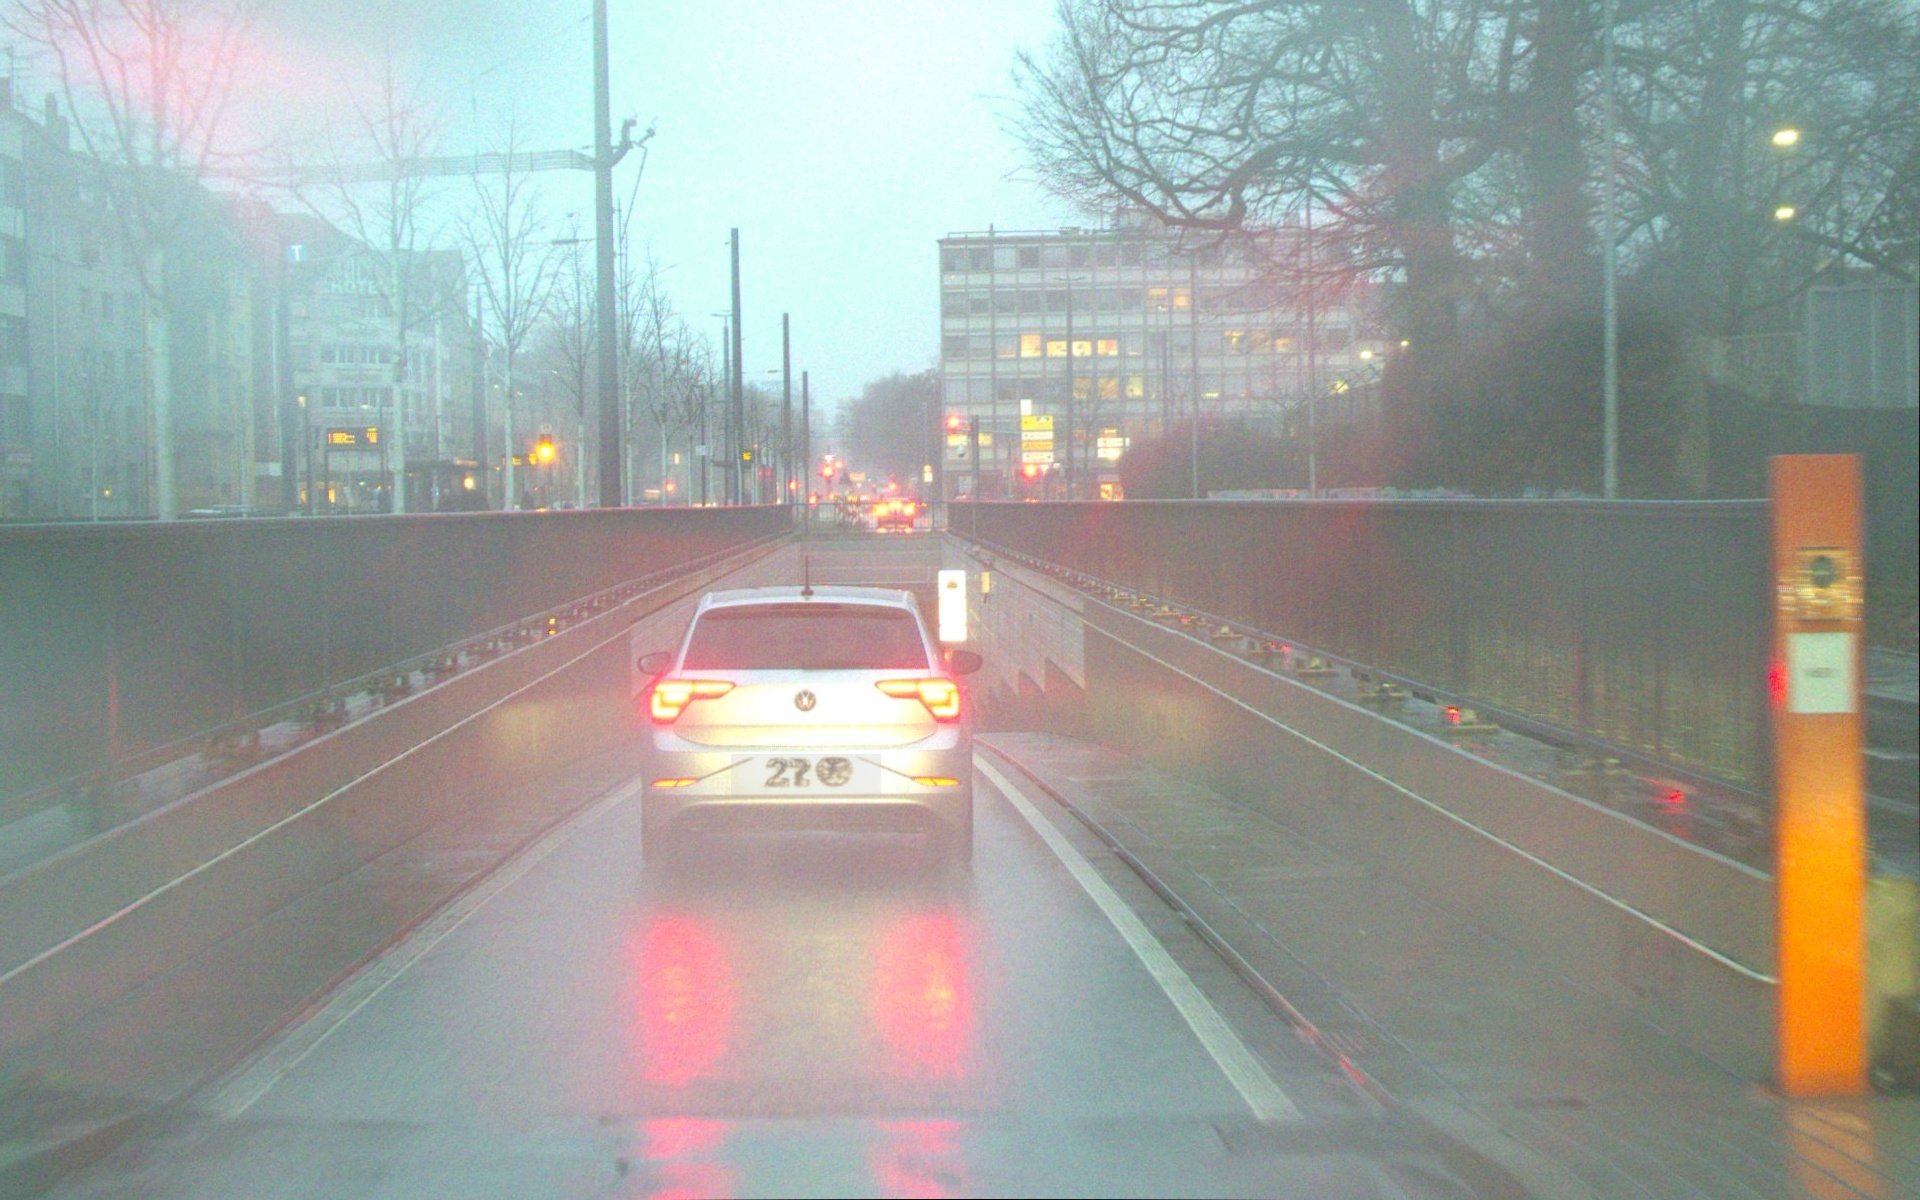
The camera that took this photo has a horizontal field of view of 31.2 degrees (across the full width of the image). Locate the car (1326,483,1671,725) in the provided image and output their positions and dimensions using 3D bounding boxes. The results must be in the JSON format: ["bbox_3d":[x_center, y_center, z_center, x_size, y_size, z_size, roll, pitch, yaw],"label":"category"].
[{"bbox_3d":[3.569,-0.016,23.445,1.722,1.474,4.000,1,1,0],"label":"car"}]

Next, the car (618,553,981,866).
[{"bbox_3d":[-0.768,0.504,18.680,1.722,1.474,4.000,1,1,0],"label":"car"}]
